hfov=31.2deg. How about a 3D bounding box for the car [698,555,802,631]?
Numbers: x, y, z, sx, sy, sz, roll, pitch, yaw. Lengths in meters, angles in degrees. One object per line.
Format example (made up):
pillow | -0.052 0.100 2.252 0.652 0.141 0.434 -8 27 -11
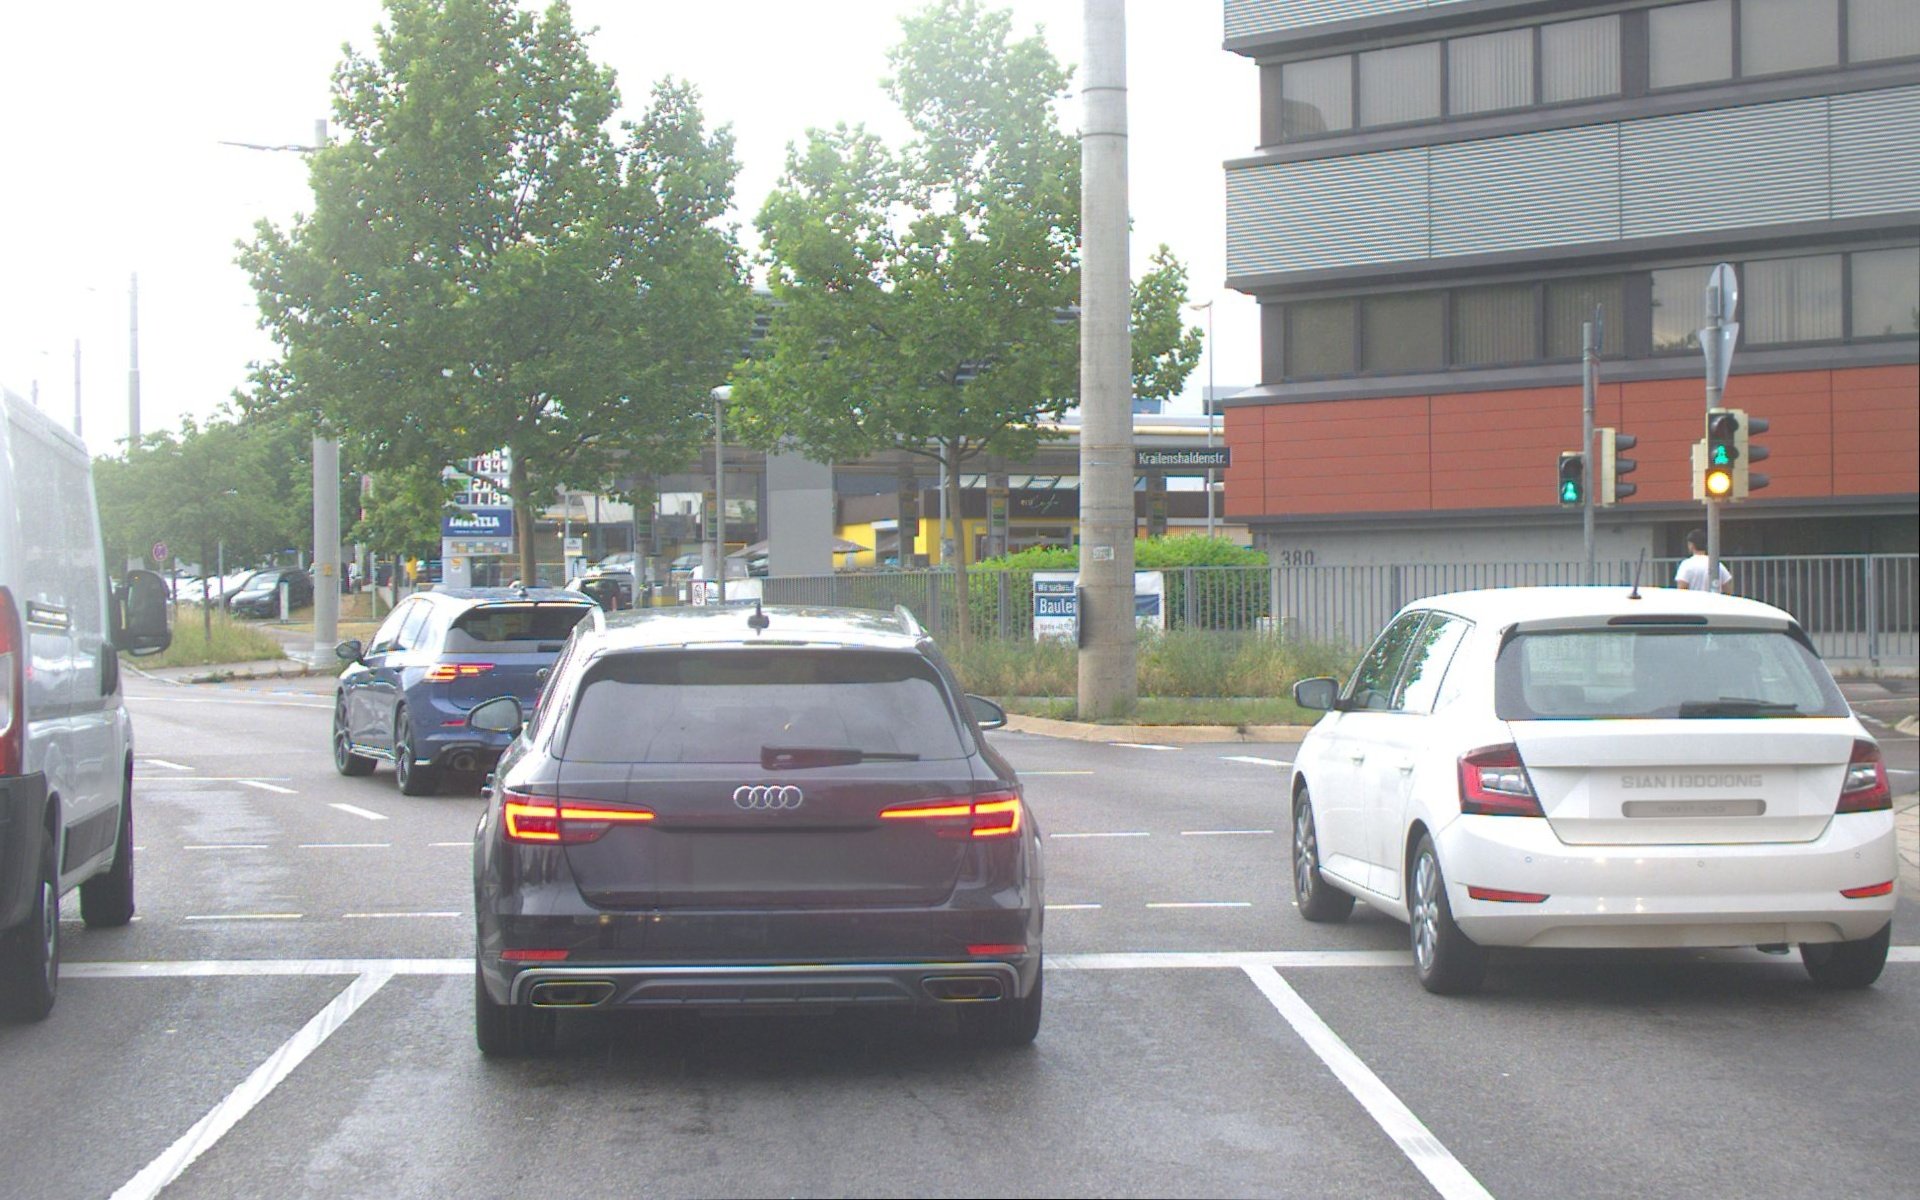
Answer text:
car | -5.855 -0.198 95.436 1.993 2.025 4.001 -1 0 -17

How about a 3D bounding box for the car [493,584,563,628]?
car | -15.934 0.215 126.645 1.791 1.586 4.001 -1 0 -18

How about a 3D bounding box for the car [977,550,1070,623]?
car | 1.815 -0.378 99.213 1.674 2.007 3.138 2 -1 -18

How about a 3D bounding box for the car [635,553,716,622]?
car | -8.641 -0.370 104.260 1.678 2.007 3.543 2 -1 -16

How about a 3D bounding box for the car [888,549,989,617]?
car | -0.689 -0.525 107.597 1.869 2.007 3.775 2 -1 -21

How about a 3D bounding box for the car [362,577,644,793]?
car | -3.413 0.603 25.297 1.893 1.460 3.910 0 -1 -9

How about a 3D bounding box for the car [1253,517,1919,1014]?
car | 2.402 0.588 13.560 1.828 1.650 4.000 1 -1 -5

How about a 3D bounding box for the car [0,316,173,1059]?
car | -4.413 0.257 12.858 2.444 2.286 4.905 2 -1 -9

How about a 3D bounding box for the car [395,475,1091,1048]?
car | -0.642 0.483 11.911 1.993 1.632 4.000 -1 -1 0

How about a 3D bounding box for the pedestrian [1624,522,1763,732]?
pedestrian | 7.626 0.264 35.798 1.143 2.118 1.222 -1 1 -1
